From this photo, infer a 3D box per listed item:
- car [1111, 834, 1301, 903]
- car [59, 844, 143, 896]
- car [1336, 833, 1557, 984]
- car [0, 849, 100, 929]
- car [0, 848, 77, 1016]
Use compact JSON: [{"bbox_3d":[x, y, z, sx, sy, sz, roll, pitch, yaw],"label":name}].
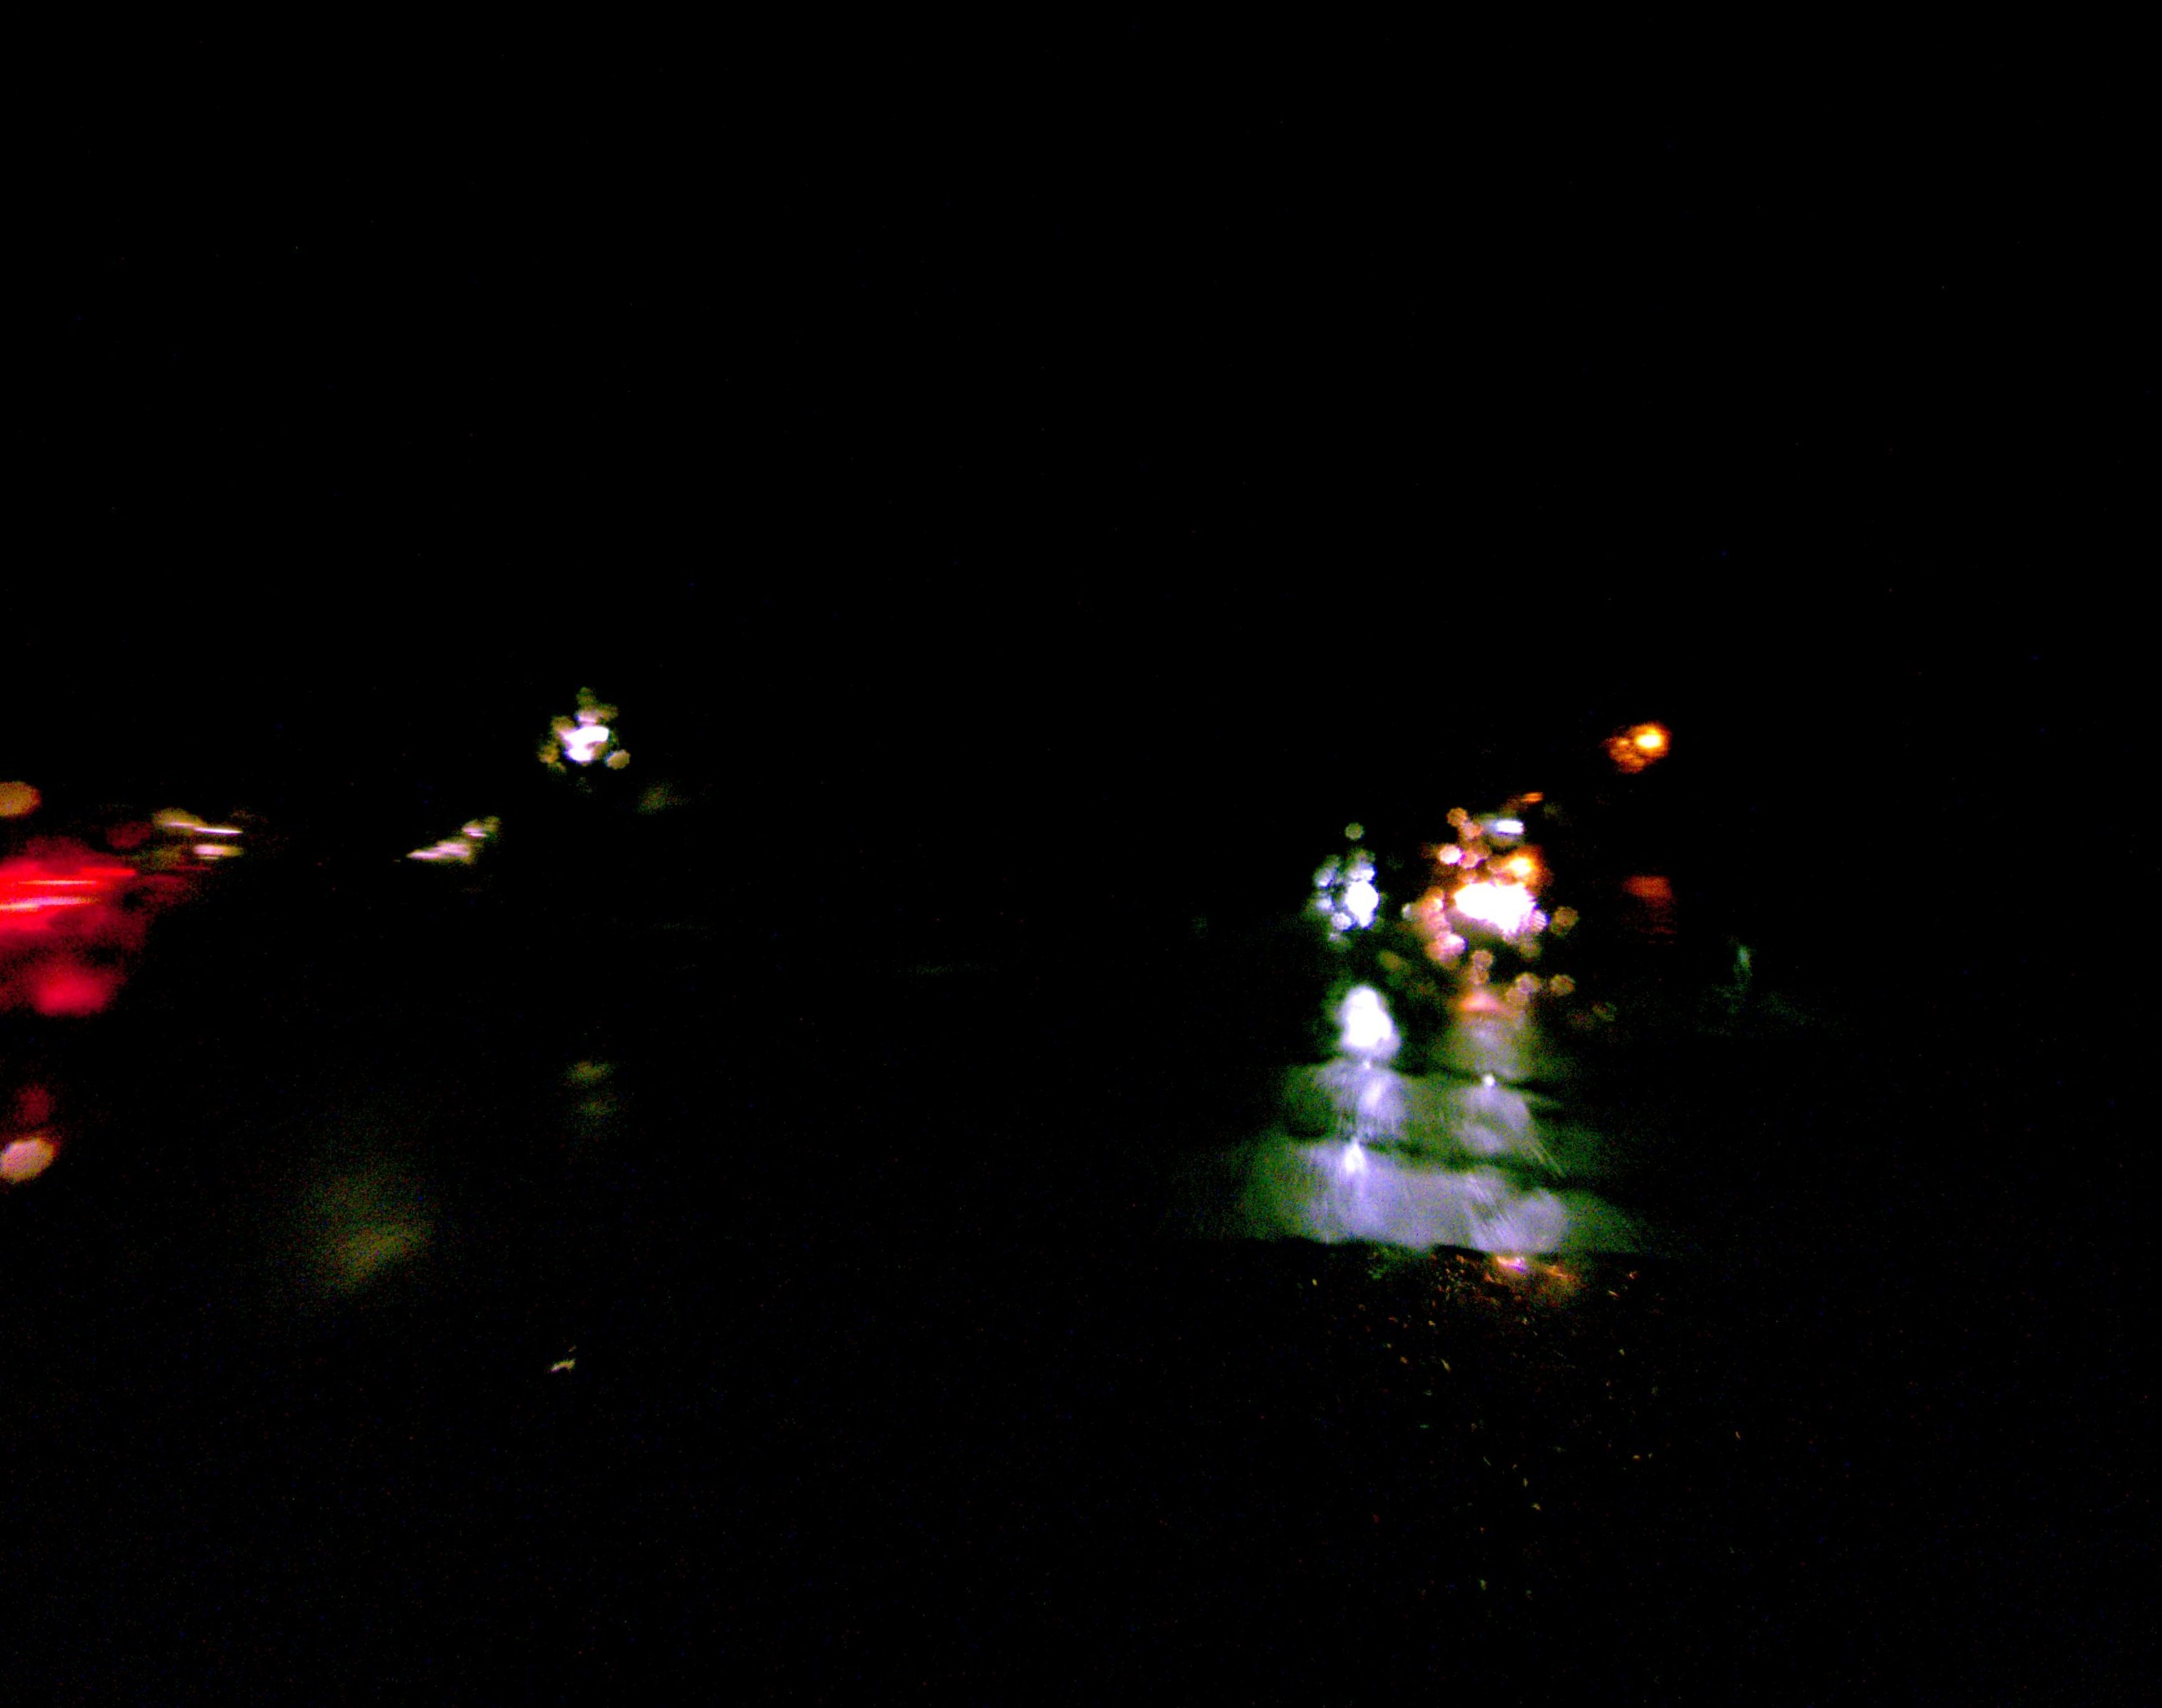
[{"bbox_3d":[3.157,0.287,19.731,4.468,1.577,1.943,2,2,40],"label":"car"},{"bbox_3d":[-39.056,0.628,30.369,4.242,1.936,1.780,-2,0,41],"label":"car"},{"bbox_3d":[5.415,0.602,10.931,1.889,1.678,4.347,-2,1,39],"label":"car"},{"bbox_3d":[-22.423,0.668,16.090,4.228,1.502,1.920,1,1,39],"label":"car"},{"bbox_3d":[-12.853,0.812,8.277,4.128,1.667,2.069,-2,-2,40],"label":"car"}]
